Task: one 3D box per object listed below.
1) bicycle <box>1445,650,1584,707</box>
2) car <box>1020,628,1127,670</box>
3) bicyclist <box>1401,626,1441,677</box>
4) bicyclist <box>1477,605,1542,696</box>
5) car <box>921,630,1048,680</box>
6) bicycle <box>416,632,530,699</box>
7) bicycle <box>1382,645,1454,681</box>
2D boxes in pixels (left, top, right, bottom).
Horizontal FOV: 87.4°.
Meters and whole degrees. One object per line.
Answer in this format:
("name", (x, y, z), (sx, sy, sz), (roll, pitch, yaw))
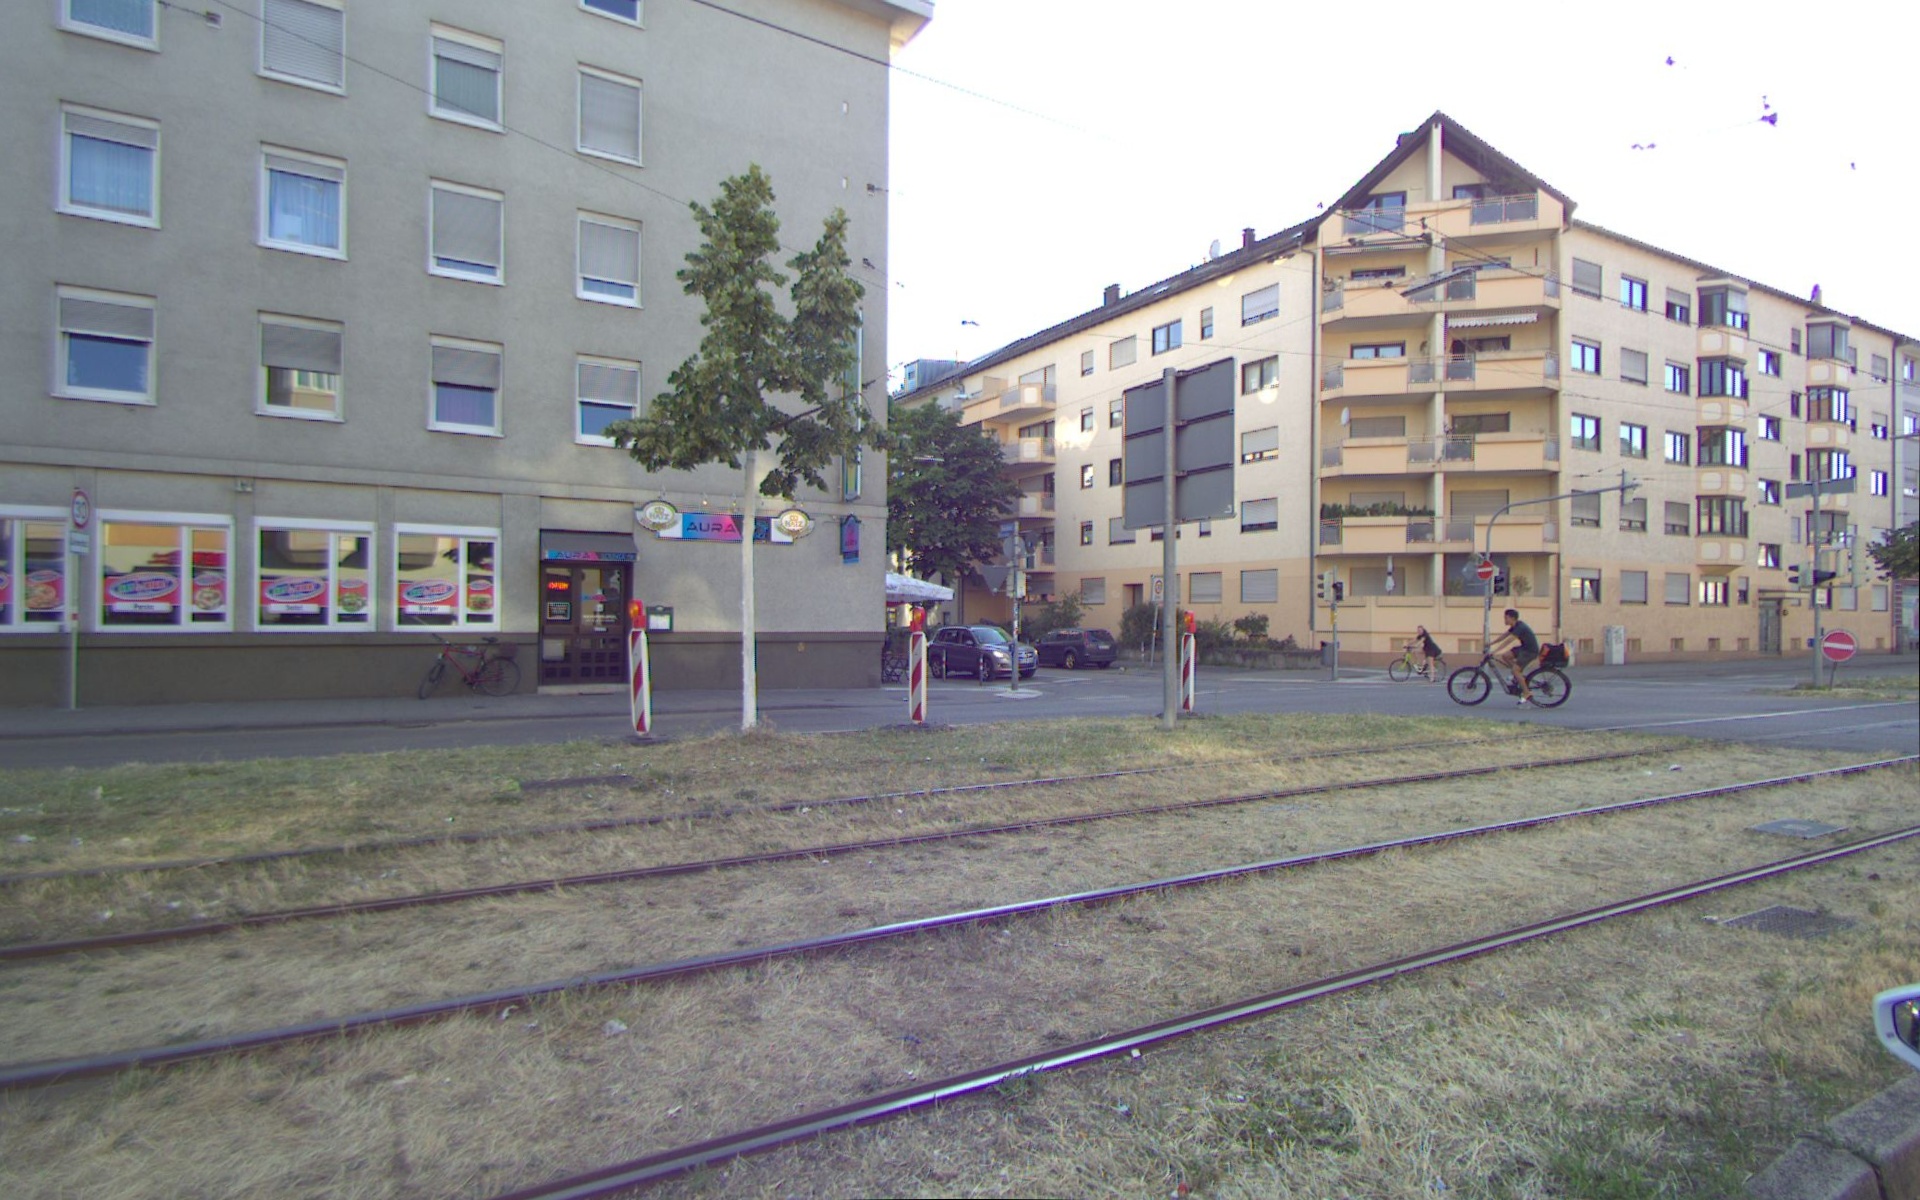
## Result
("bicycle", (9.584, 1.364, 17.446), (1.946, 0.905, 0.786), (-3, -2, 18))
("car", (4.173, 1.791, 37.467), (1.774, 1.458, 3.930), (2, -2, -36))
("bicyclist", (13.461, 1.490, 29.350), (0.946, 1.466, 0.529), (0, -1, 0))
("bicyclist", (9.540, 0.859, 17.465), (0.888, 1.546, 0.648), (0, -1, 18))
("car", (0.701, 1.660, 31.308), (1.751, 1.406, 4.074), (2, -2, -39))
("bicycle", (-8.547, 1.127, 17.641), (1.757, 1.129, 0.743), (1, -1, -31))
("bicycle", (13.370, 1.837, 29.333), (1.846, 0.997, 0.529), (0, -1, 0))
